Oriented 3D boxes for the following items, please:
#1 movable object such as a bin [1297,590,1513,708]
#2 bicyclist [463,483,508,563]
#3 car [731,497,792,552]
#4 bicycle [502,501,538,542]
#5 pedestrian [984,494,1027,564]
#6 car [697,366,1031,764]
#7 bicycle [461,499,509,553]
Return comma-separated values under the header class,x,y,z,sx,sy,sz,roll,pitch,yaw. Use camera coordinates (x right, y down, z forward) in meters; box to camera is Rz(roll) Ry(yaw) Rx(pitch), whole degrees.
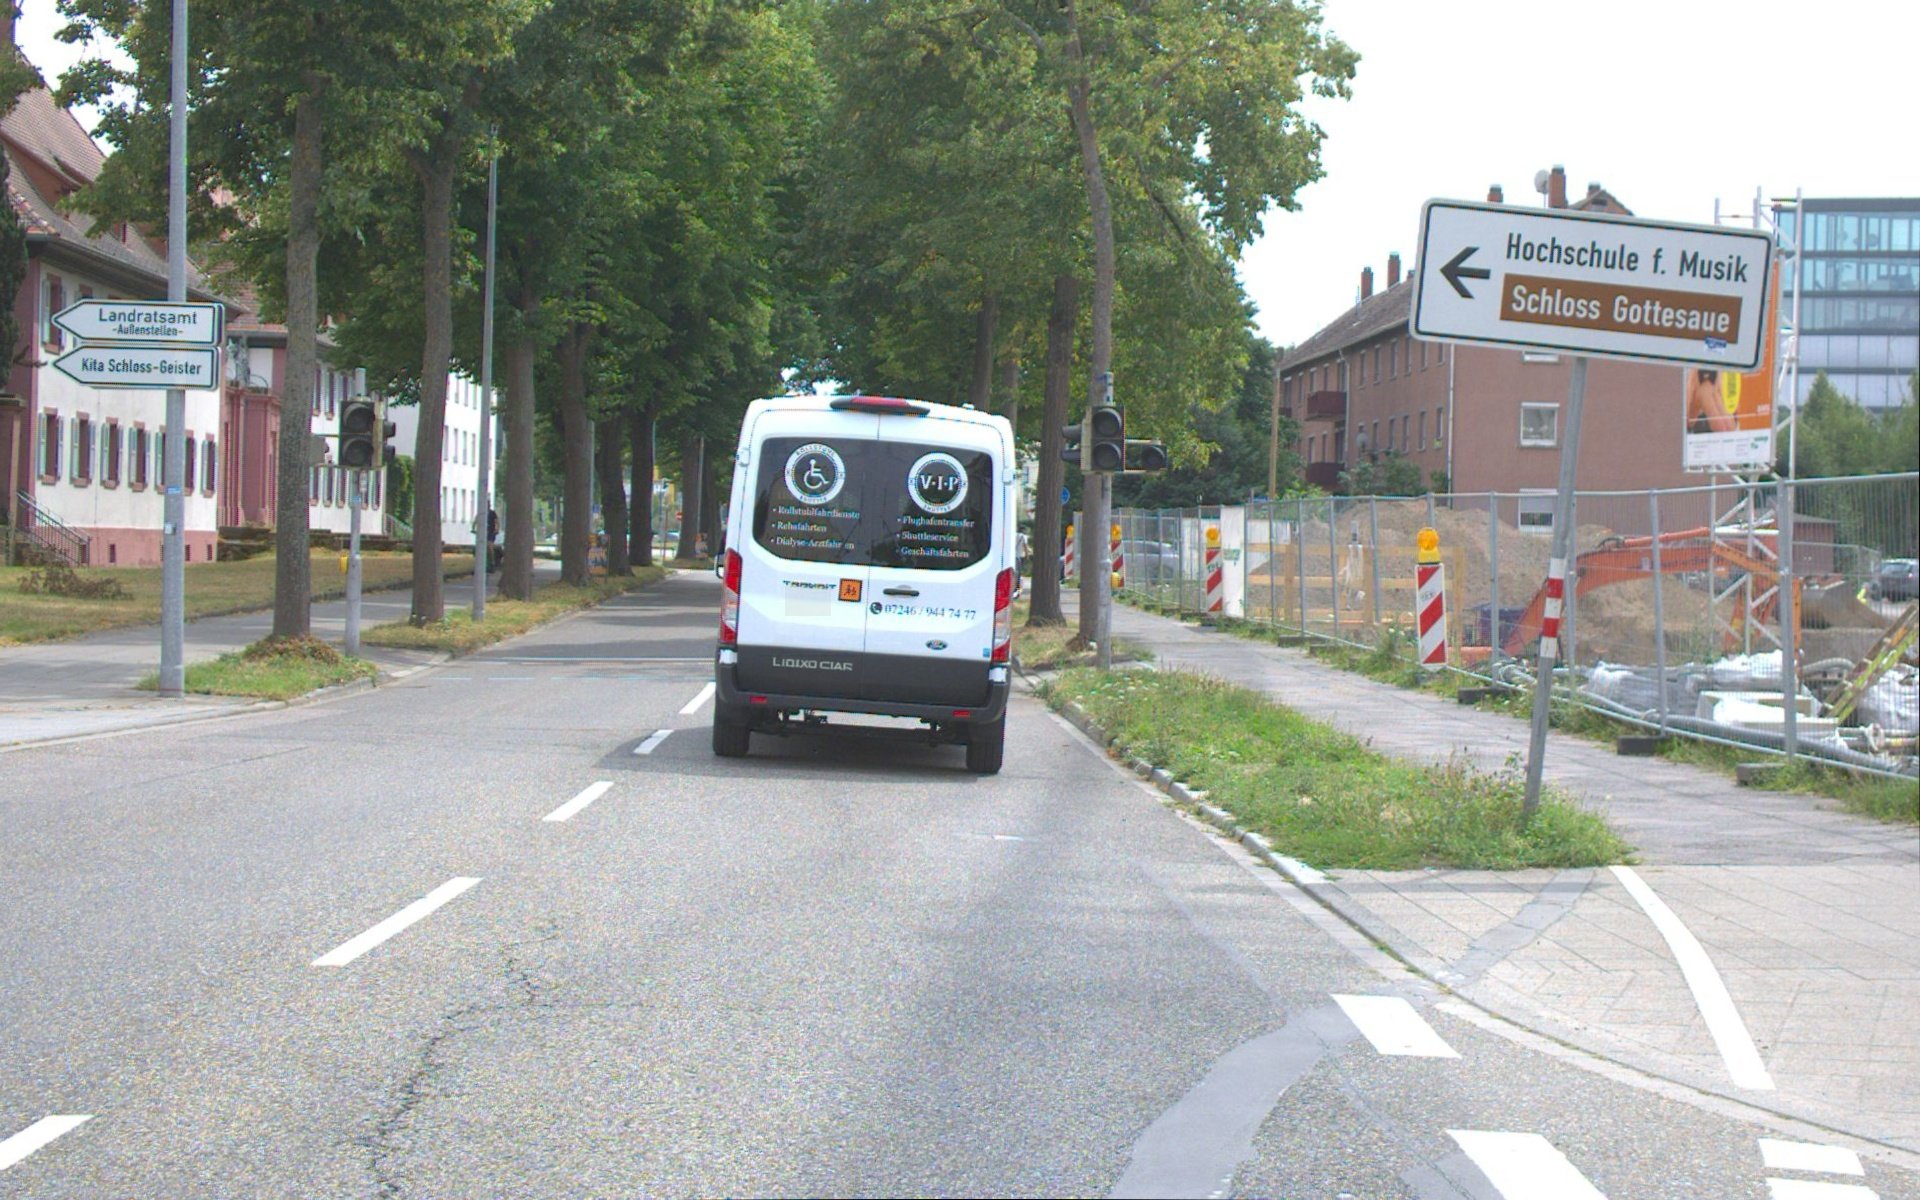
class,x,y,z,sx,sy,sz,roll,pitch,yaw
movable object such as a bin,10.345,1.099,79.622,4.685,2.581,3.131,0,1,13
bicyclist,-10.321,-1.679,74.818,0.722,1.650,0.958,6,1,-2
car,-6.428,-2.441,111.827,1.771,1.653,4.257,-1,0,0
bicycle,-12.513,-2.240,97.841,0.722,1.091,2.225,6,1,-2
pedestrian,1.196,-1.864,90.227,0.883,1.808,0.888,0,1,17
car,-0.780,-0.257,24.580,2.062,2.531,4.001,2,1,-5
bicycle,-10.322,-1.612,74.802,0.722,1.091,2.152,6,1,-2
